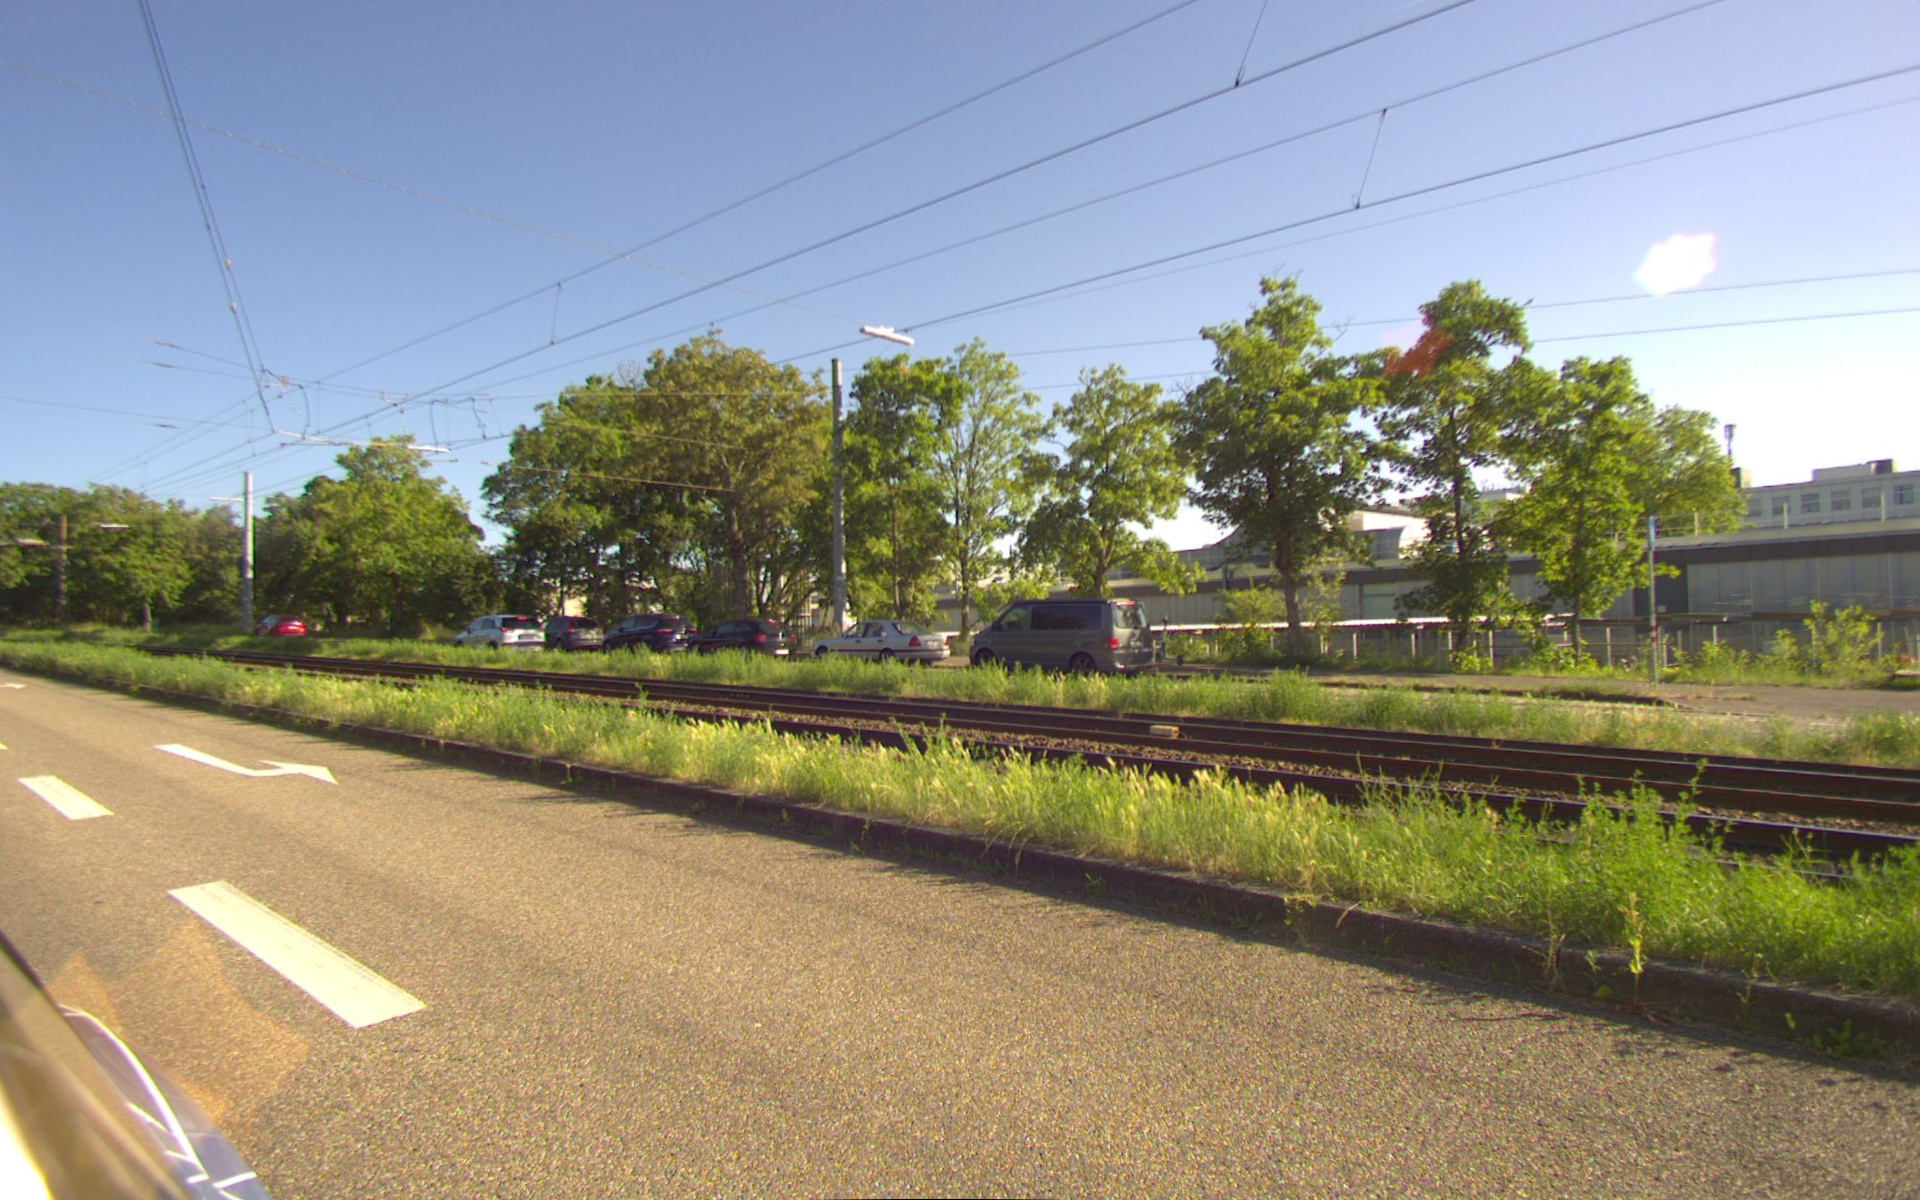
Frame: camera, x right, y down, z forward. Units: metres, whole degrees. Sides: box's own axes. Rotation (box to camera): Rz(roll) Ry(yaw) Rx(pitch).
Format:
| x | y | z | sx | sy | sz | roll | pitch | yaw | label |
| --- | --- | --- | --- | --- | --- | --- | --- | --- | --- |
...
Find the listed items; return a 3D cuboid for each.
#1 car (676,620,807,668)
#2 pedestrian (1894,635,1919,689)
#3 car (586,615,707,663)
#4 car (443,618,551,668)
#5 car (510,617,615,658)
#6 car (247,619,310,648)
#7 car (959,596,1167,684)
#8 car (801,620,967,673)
| x | y | z | sx | sy | sz | roll | pitch | yaw | label |
| --- | --- | --- | --- | --- | --- | --- | --- | --- | --- |
| -7.233 | 1.423 | 33.238 | 4.486 | 1.437 | 1.935 | -2 | -1 | 42 | car |
| 23.541 | 1.534 | 25.021 | 0.435 | 1.310 | 0.441 | -1 | -2 | -1 | pedestrian |
| -11.428 | 1.390 | 36.791 | 4.614 | 1.599 | 2.102 | -2 | -1 | 41 | car |
| -15.796 | 1.441 | 34.432 | 4.155 | 1.569 | 1.835 | -2 | -1 | 42 | car |
| -16.257 | 1.521 | 41.267 | 4.557 | 1.575 | 2.103 | -2 | -1 | 41 | car |
| -42.450 | 2.082 | 62.996 | 4.797 | 1.746 | 2.290 | -2 | -1 | 43 | car |
| 2.442 | 0.946 | 24.813 | 4.684 | 1.949 | 2.178 | -2 | -1 | 42 | car |
| -2.256 | 1.310 | 29.230 | 4.612 | 1.391 | 2.103 | -2 | -1 | 40 | car |
